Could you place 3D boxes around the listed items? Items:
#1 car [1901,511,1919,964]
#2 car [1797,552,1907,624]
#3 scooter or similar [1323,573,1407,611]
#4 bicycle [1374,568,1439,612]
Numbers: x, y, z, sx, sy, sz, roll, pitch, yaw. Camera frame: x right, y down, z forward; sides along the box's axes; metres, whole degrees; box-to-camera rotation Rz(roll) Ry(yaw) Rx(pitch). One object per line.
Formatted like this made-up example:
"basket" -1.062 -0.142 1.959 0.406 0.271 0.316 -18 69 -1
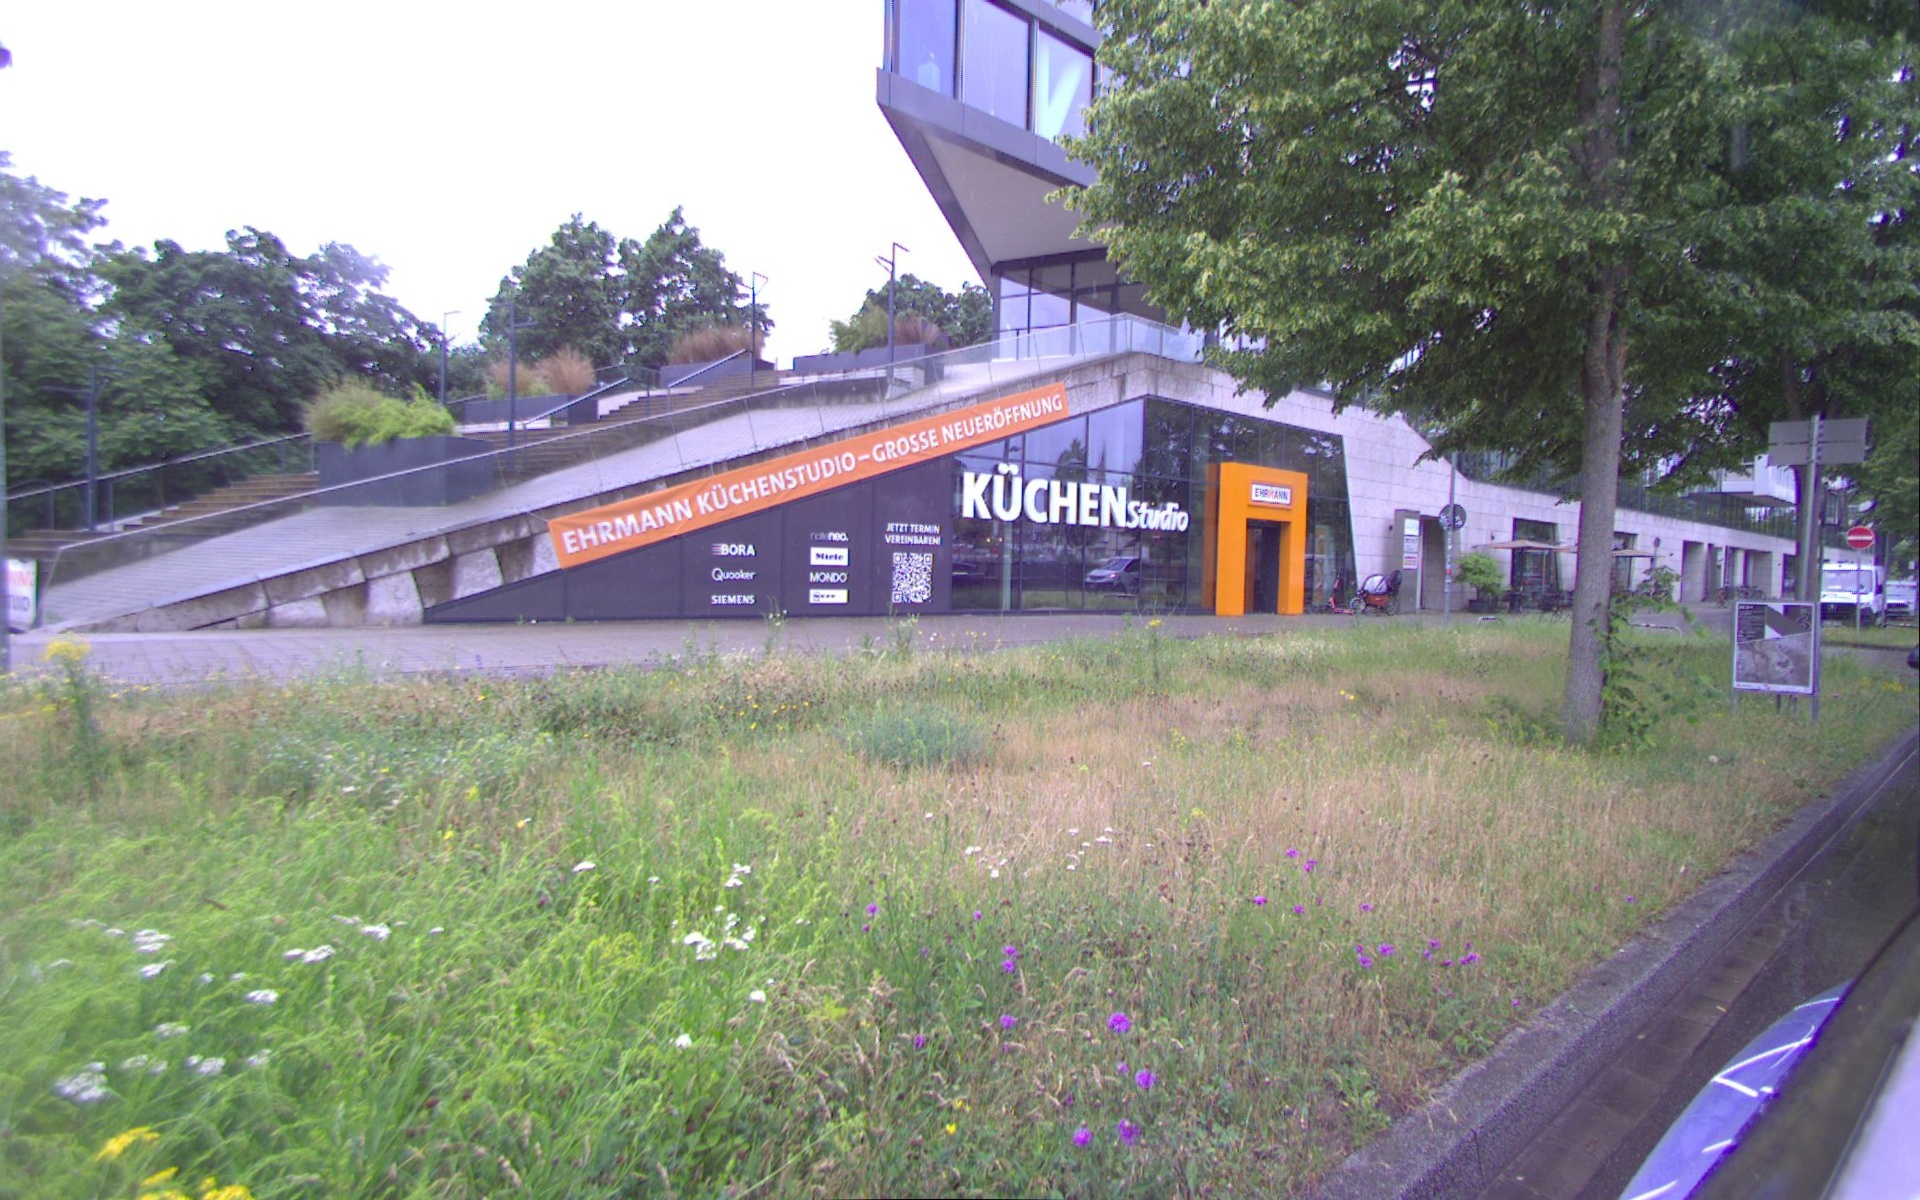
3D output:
"car" 5.968 0.577 4.684 4.306 1.769 1.915 1 -1 -41
"car" 29.671 -0.402 33.603 5.008 2.229 2.083 -1 0 -41
"scooter or similar" 12.388 -0.247 30.945 2.560 1.113 0.814 0 0 -23
"bicycle" 14.463 -0.333 32.742 2.650 1.364 0.882 -1 0 -41
